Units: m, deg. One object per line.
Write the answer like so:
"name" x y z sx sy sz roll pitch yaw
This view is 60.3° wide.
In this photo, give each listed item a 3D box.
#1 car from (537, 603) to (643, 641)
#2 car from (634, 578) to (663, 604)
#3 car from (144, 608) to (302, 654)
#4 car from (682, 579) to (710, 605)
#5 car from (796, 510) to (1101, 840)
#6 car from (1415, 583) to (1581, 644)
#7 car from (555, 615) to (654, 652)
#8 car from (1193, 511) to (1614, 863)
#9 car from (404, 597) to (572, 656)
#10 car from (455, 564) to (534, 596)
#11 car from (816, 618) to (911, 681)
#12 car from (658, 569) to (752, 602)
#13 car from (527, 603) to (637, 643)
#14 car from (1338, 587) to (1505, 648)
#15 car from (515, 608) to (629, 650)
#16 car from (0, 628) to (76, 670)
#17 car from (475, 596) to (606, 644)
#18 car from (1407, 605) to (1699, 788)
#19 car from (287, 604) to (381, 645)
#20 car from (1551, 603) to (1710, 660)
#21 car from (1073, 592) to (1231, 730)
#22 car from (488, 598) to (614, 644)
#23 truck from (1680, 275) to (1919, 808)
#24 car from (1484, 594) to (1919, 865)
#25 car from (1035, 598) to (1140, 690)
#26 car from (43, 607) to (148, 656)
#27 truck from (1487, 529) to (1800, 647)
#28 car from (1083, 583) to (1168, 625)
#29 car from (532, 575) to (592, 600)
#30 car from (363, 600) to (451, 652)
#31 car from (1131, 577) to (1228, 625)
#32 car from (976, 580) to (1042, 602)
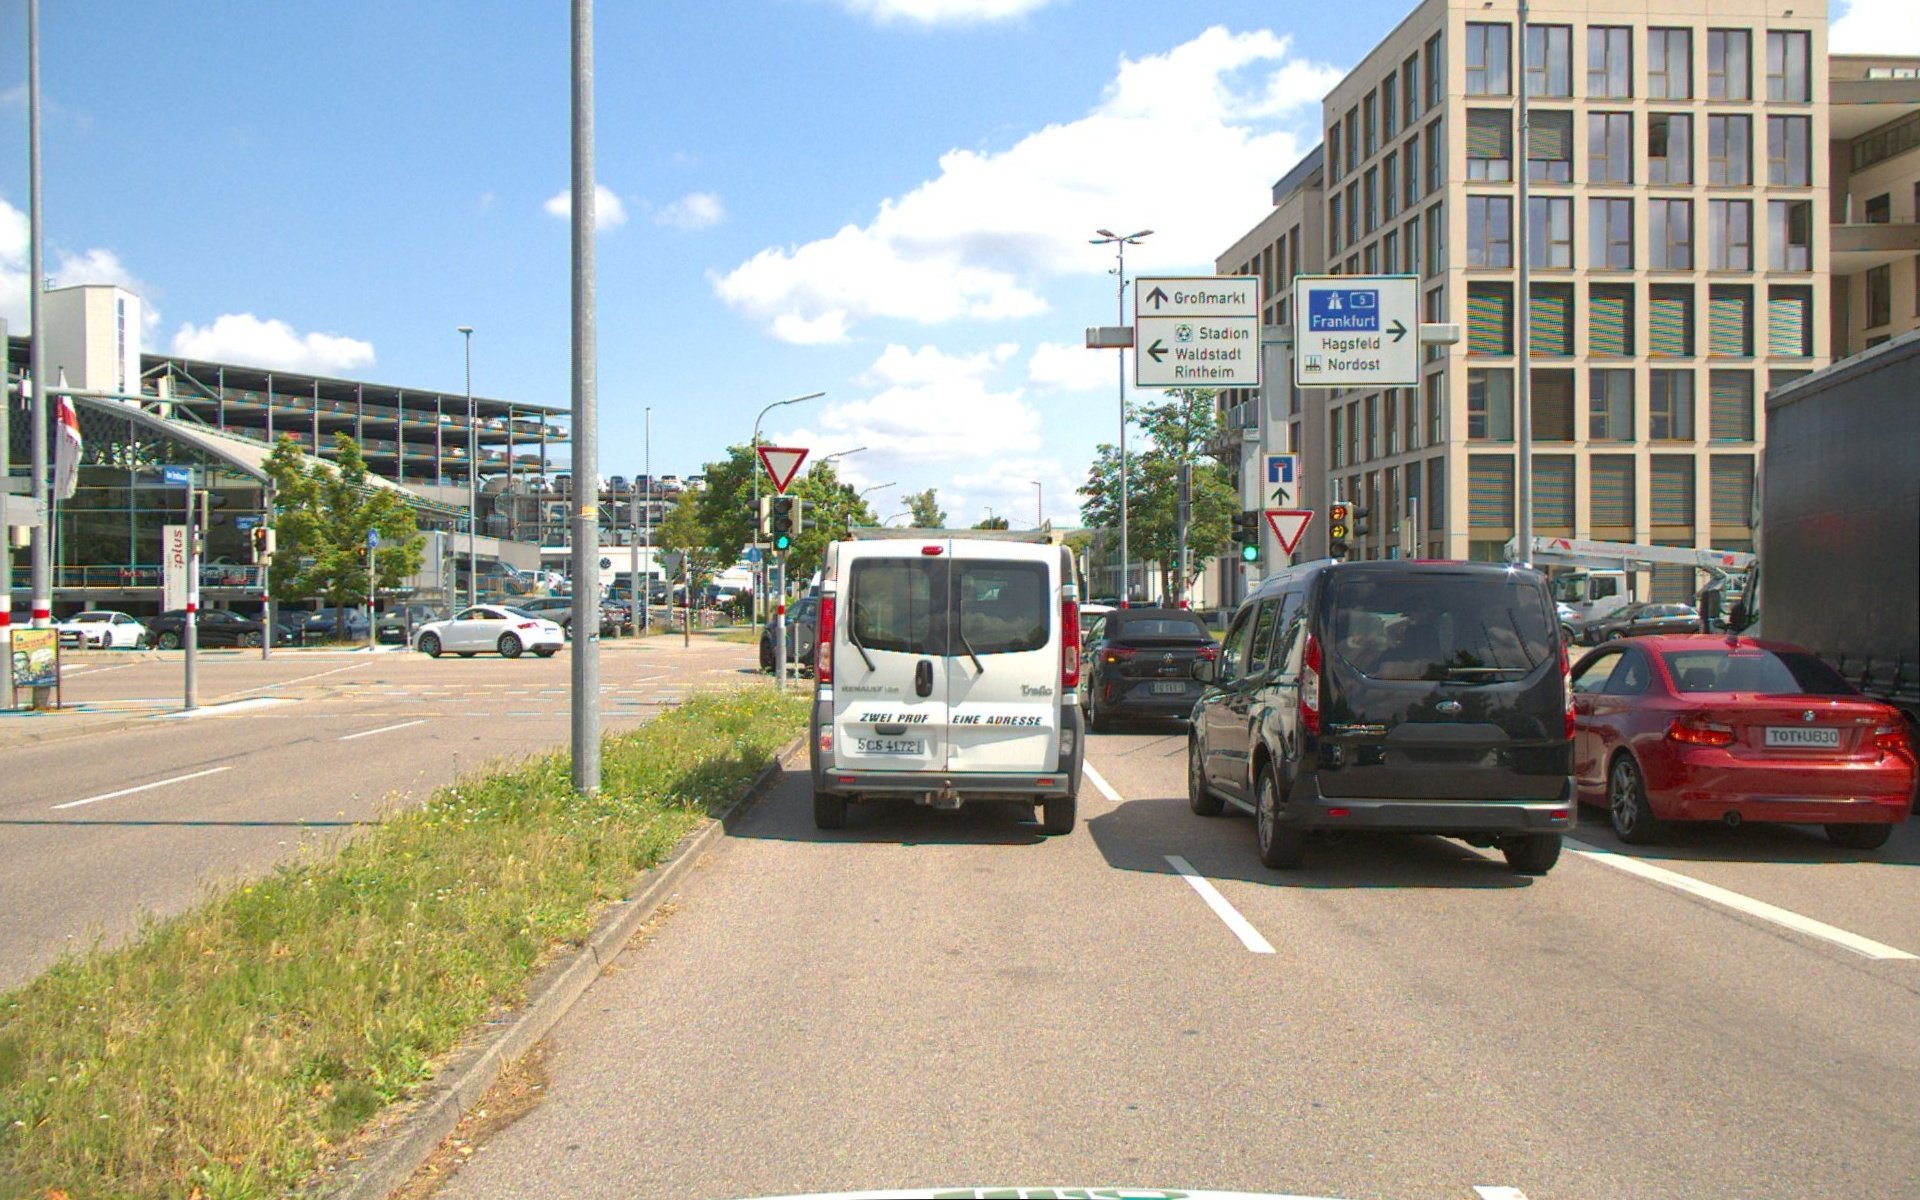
"car" -16.902 0.997 75.723 4.484 1.707 1.906 0 0 -4
"car" -20.076 -0.555 106.669 1.531 1.579 3.597 1 -1 -6
"car" -25.592 1.094 57.563 4.649 1.490 1.793 -1 -3 -6
"car" -16.918 -0.492 106.206 1.531 1.579 3.597 1 -1 -6
"car" -0.106 0.493 12.819 1.933 2.096 4.563 0 0 -1
"car" 15.333 0.392 47.218 4.119 1.655 1.824 1 -1 -8
"car" -17.396 1.630 81.139 4.484 1.707 1.905 1 -1 -4
"car" 2.737 0.492 11.155 1.786 1.938 4.000 0 0 0
"car" -12.336 0.686 43.245 3.906 1.467 1.860 1 -1 24
"car" -28.422 -1.227 101.135 4.356 1.833 1.762 1 -1 -7
"car" -1.963 1.003 34.756 1.737 1.222 4.000 0 0 0
"car" -17.480 -0.974 113.686 6.264 2.139 1.763 1 -1 -6
"car" -16.701 1.010 73.293 4.484 1.707 1.906 0 0 -4
"car" 15.008 0.583 53.909 4.883 1.870 1.996 1 -1 -8
"car" -16.588 1.238 70.886 4.484 1.707 1.905 1 -1 -4
"car" -32.120 1.642 56.347 1.864 1.320 4.584 1 -1 -5
"car" -15.780 0.770 62.442 4.484 1.707 1.905 1 -1 -4
"car" 6.576 0.978 18.867 1.821 1.684 4.220 5 0 2
"car" -21.747 0.860 57.636 1.864 1.320 4.584 1 -1 -5
"car" 20.506 0.971 50.681 4.113 1.655 1.827 1 -1 -2
"car" 2.454 0.746 21.955 1.737 1.658 4.001 0 0 1
"car" -15.987 0.816 64.839 4.484 1.707 1.905 1 -1 -4
"truck" 9.273 -0.395 14.634 3.143 4.098 9.077 1 -1 9
"car" 5.520 0.863 12.564 1.820 1.684 4.219 1 -1 1
"car" 2.393 0.806 31.842 1.737 1.658 4.000 0 0 0
"car" -29.393 1.111 56.358 1.755 1.490 3.995 -1 -3 -5
"truck" 22.574 -0.342 54.779 9.568 3.617 2.670 1 -1 -8
"car" 8.433 0.207 84.340 3.913 2.049 1.996 1 -1 -9
"car" -27.315 -0.850 113.628 3.918 1.579 1.759 1 -1 -13
"car" -19.247 0.915 57.720 1.864 1.707 4.584 1 -1 -5
"car" 9.874 0.050 74.625 3.913 2.049 1.996 1 -1 -9
"car" 4.749 -0.871 160.963 6.214 2.049 2.571 1 -1 -3
